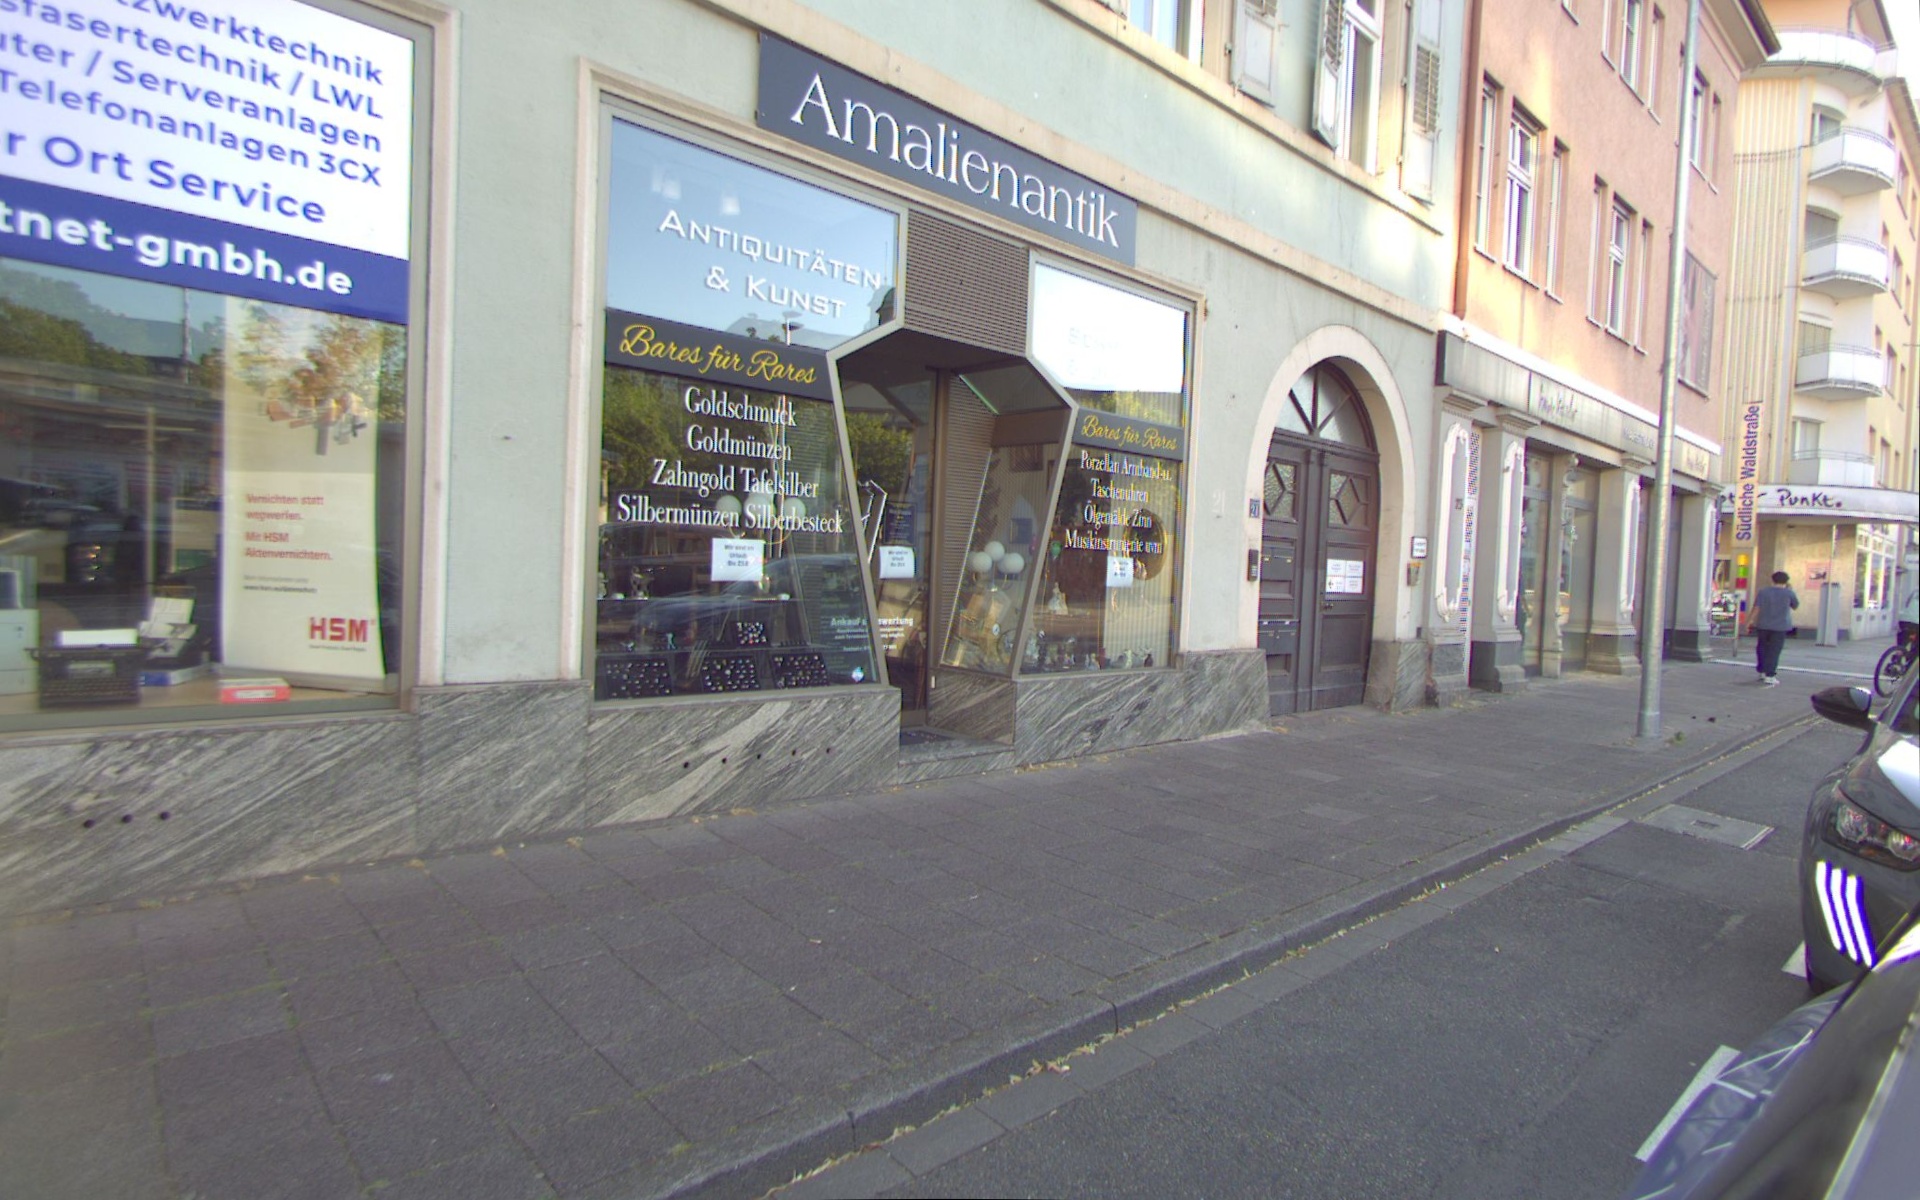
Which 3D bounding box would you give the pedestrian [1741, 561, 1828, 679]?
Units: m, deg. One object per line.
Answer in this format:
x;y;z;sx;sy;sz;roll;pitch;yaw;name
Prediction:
12.251;0.269;15.036;0.857;1.662;0.824;0;3;-43;pedestrian

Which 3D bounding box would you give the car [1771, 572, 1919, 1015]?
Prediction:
5.158;0.658;4.447;4.375;1.465;1.906;0;2;-44;car

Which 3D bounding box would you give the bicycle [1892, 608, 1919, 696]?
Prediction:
13.248;0.691;13.707;1.863;1.121;0.691;0;2;-42;bicycle

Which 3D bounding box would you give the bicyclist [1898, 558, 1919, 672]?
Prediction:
13.305;0.215;13.705;0.884;1.526;0.723;1;2;-40;bicyclist
